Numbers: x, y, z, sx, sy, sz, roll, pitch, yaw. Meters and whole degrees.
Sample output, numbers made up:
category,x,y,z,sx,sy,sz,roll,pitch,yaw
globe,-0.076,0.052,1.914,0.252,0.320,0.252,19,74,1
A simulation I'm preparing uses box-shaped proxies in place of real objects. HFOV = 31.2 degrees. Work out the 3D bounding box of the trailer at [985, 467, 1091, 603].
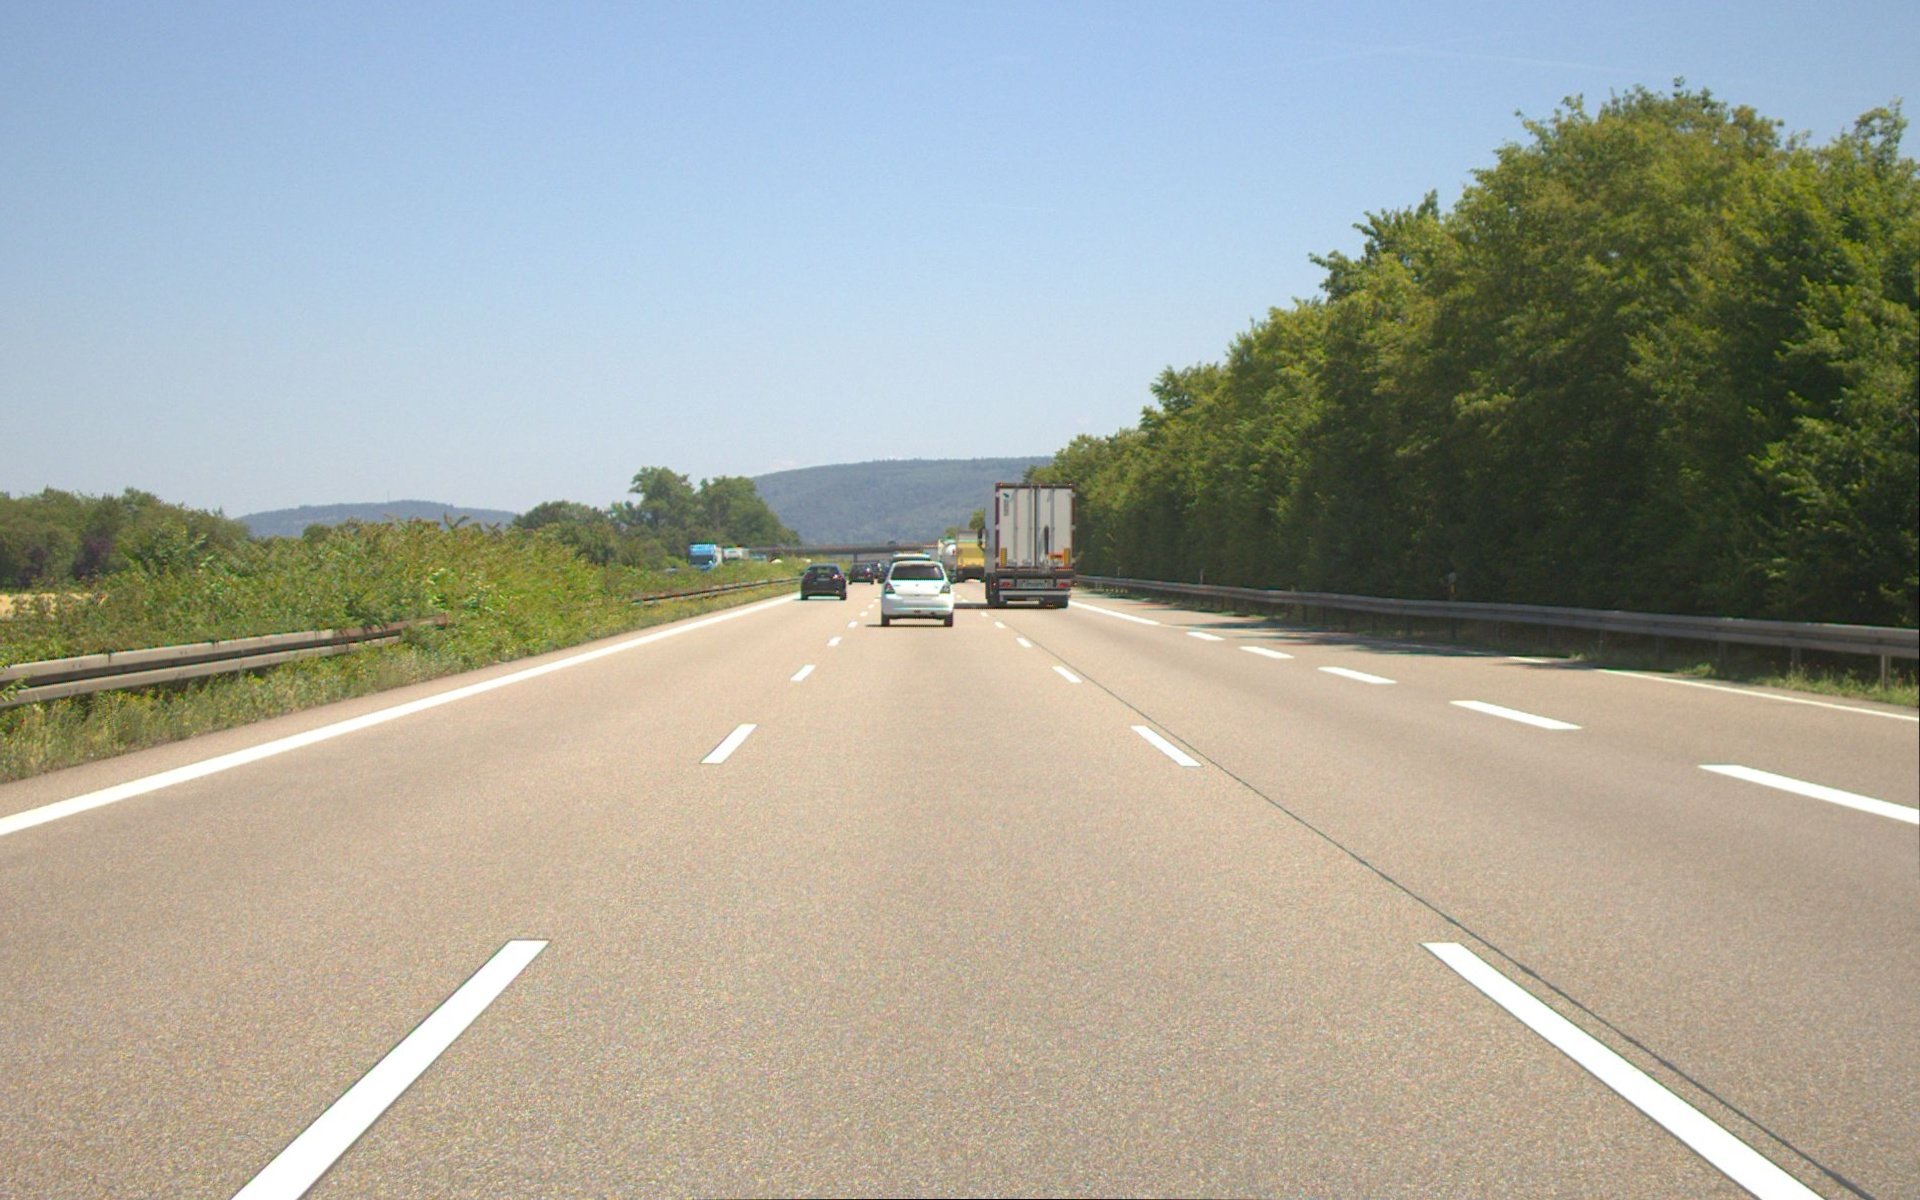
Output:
category,x,y,z,sx,sy,sz,roll,pitch,yaw
trailer,2.562,-2.160,117.537,3.218,4.330,13.629,1,1,0

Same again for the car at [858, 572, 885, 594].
category,x,y,z,sx,sy,sz,roll,pitch,yaw
car,-6.143,-1.190,238.401,1.795,1.545,4.000,0,0,-1

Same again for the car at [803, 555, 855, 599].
category,x,y,z,sx,sy,sz,roll,pitch,yaw
car,-5.202,-0.934,136.952,1.993,1.706,4.000,1,1,-2

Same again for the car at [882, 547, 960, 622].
category,x,y,z,sx,sy,sz,roll,pitch,yaw
car,-0.940,-0.382,80.422,1.732,1.678,4.000,-1,1,-2
